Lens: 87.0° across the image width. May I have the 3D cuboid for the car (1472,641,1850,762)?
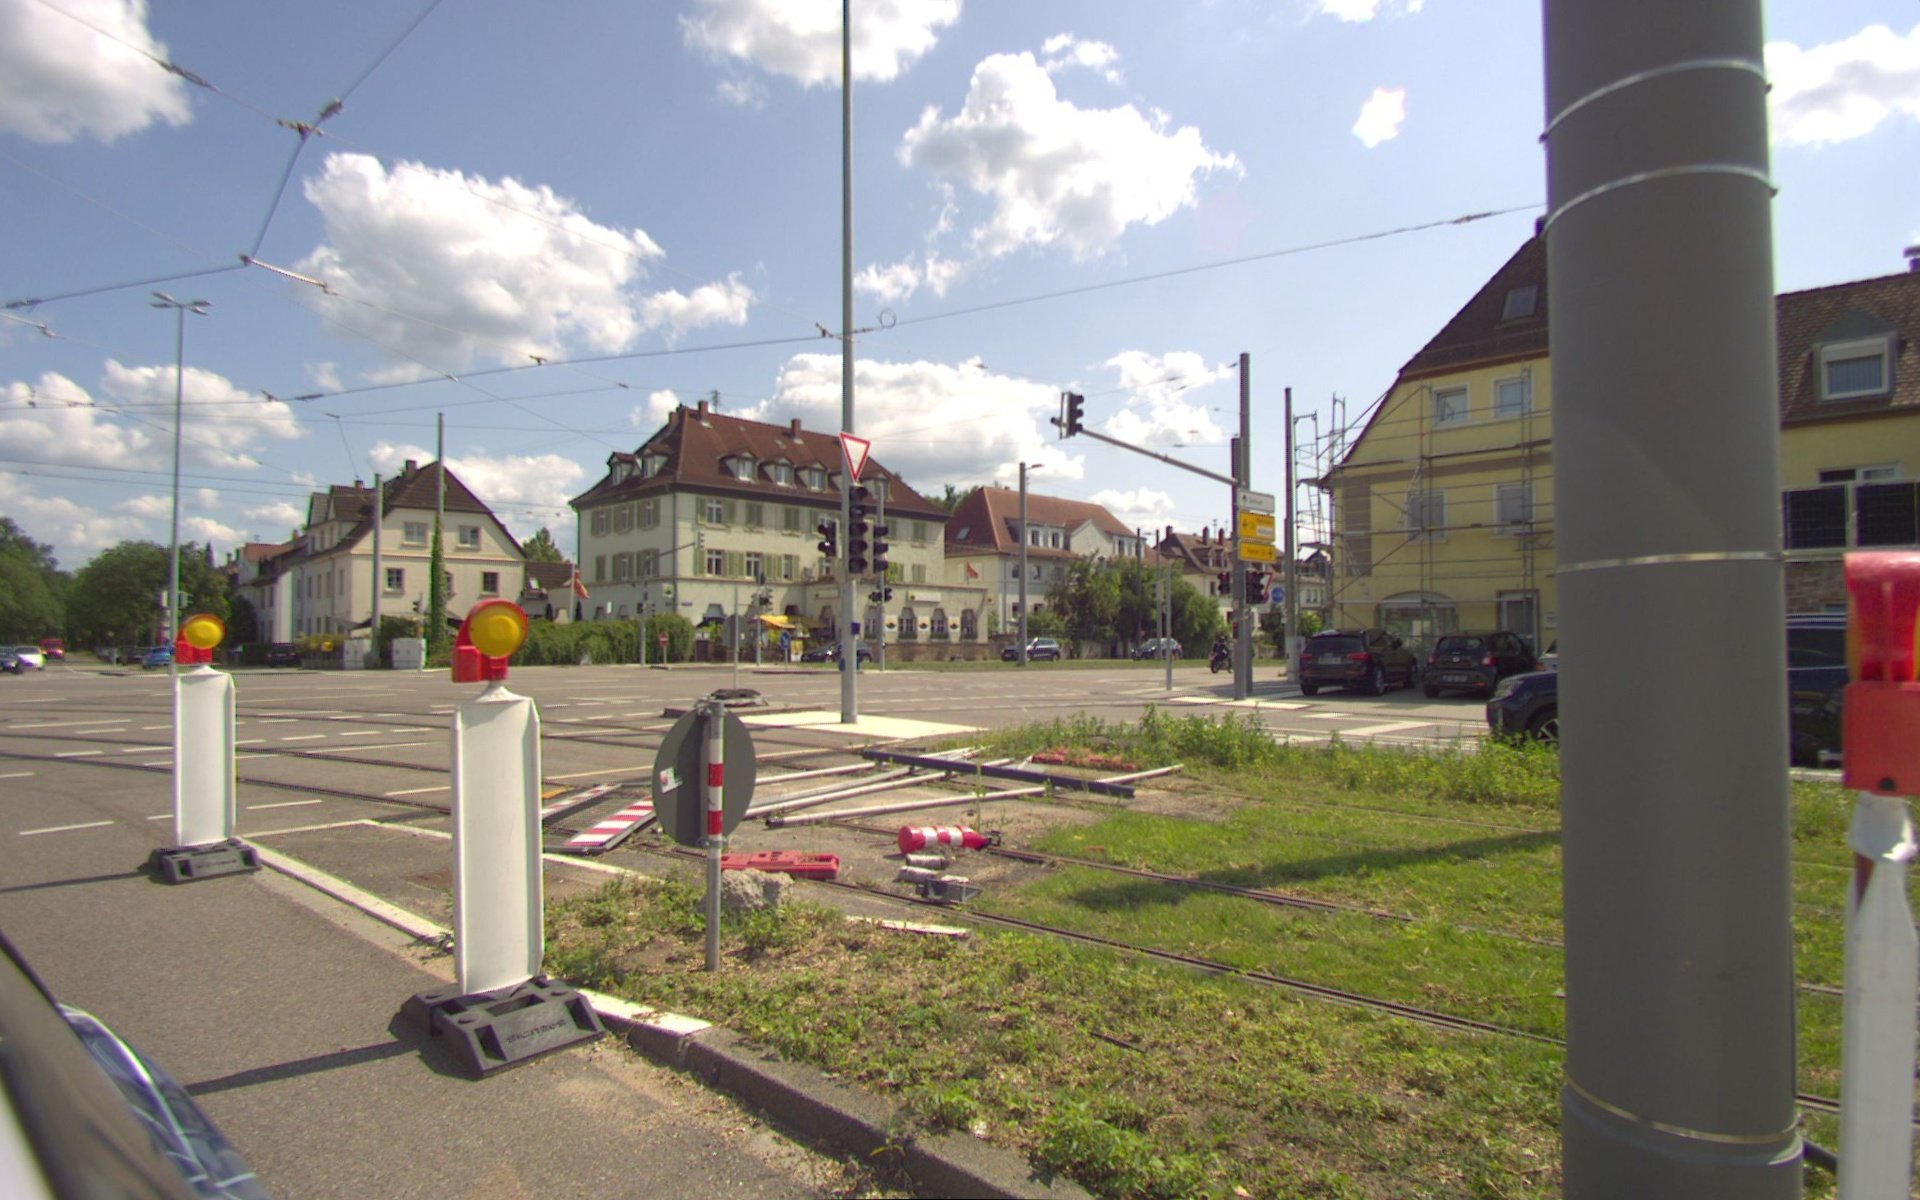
[{"bbox_3d":[10.084,1.359,14.775,4.333,1.498,1.808,-2,-3,42],"label":"car"}]

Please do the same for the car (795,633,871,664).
[{"bbox_3d":[-6.805,2.631,54.603,1.747,1.596,3.869,-3,-4,43],"label":"car"}]

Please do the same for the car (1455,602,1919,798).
[{"bbox_3d":[7.889,0.983,10.713,4.438,1.734,1.768,-3,-4,41],"label":"car"}]

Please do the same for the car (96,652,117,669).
[{"bbox_3d":[-85.596,6.111,101.502,1.539,1.667,3.256,2,-4,-40],"label":"car"}]

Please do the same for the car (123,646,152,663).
[{"bbox_3d":[-65.519,4.314,80.598,1.683,1.306,3.924,2,-4,-40],"label":"car"}]

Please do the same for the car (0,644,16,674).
[{"bbox_3d":[-48.258,2.937,50.459,1.685,1.473,3.157,2,-4,-43],"label":"car"}]

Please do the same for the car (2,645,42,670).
[{"bbox_3d":[-56.610,3.446,61.145,1.684,1.473,3.158,2,-4,-42],"label":"car"}]

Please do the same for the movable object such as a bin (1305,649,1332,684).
[{"bbox_3d":[13.168,2.445,37.209,0.682,1.270,0.674,-3,-3,44],"label":"movable object such as a bin"}]

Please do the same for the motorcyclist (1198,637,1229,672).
[{"bbox_3d":[11.112,2.393,44.368,0.825,1.409,1.085,-10,-10,40],"label":"motorcyclist"}]

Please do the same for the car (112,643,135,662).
[{"bbox_3d":[-74.900,4.707,90.602,1.539,1.667,3.579,2,-4,-40],"label":"car"}]

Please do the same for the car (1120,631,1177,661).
[{"bbox_3d":[13.341,3.224,71.550,3.938,2.029,2.003,2,-3,-41],"label":"car"}]

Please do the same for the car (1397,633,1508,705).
[{"bbox_3d":[11.963,1.605,24.449,1.505,1.505,4.094,-2,-2,39],"label":"car"}]

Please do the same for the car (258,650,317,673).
[{"bbox_3d":[-42.148,3.825,63.526,1.733,1.397,4.112,0,-3,-13],"label":"car"}]

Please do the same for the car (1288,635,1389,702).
[{"bbox_3d":[9.815,1.705,26.105,1.178,1.505,4.094,-2,-2,39],"label":"car"}]

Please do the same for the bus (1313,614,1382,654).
[{"bbox_3d":[39.498,3.487,102.898,2.400,3.806,11.855,-2,-3,42],"label":"bus"}]

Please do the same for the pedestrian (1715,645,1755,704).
[{"bbox_3d":[16.574,1.584,21.646,0.572,1.229,0.603,-2,-2,31],"label":"pedestrian"}]

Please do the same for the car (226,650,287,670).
[{"bbox_3d":[-54.683,4.650,78.658,3.748,1.465,1.713,2,-4,-40],"label":"car"}]

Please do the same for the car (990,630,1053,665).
[{"bbox_3d":[3.745,2.870,61.218,1.905,2.029,3.661,-2,-3,43],"label":"car"}]

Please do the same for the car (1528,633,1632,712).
[{"bbox_3d":[13.834,1.538,22.483,1.433,1.505,4.094,-2,-2,39],"label":"car"}]

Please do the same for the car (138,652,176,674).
[{"bbox_3d":[-53.483,4.188,67.382,1.685,1.473,3.157,2,-4,-43],"label":"car"}]

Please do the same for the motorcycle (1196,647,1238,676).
[{"bbox_3d":[11.313,2.695,44.508,0.844,1.136,2.326,-1,-1,42],"label":"motorcycle"}]
